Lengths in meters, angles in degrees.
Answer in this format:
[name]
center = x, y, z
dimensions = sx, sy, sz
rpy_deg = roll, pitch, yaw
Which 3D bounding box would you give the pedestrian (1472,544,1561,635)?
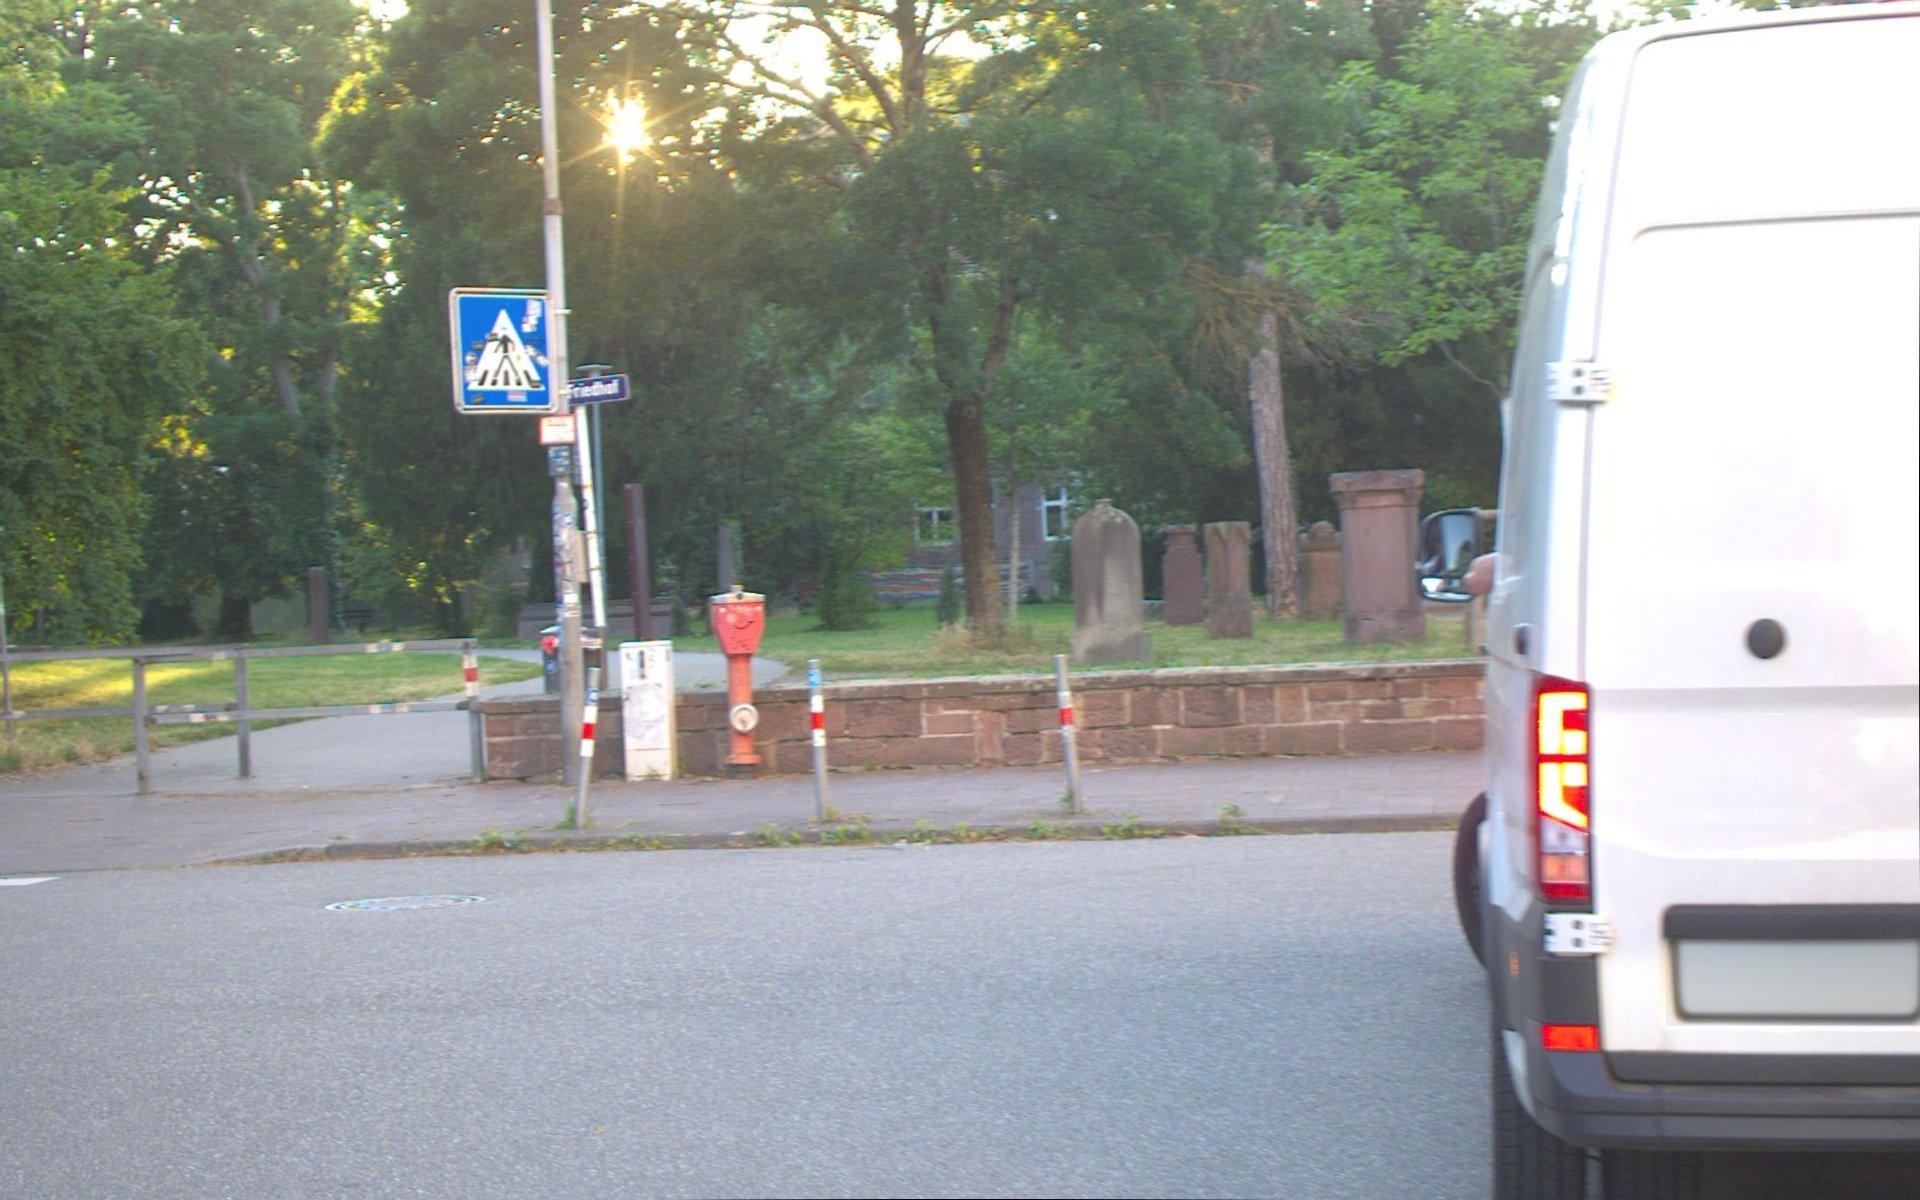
[pedestrian]
center = 9.186, -0.183, 56.794
dimensions = 1.328, 1.439, 1.046
rpy_deg = -2, 0, 5

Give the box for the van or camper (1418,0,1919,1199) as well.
[van or camper]
center = 2.288, 0.101, 9.124
dimensions = 1.994, 2.609, 6.401
rpy_deg = 0, 0, 6
